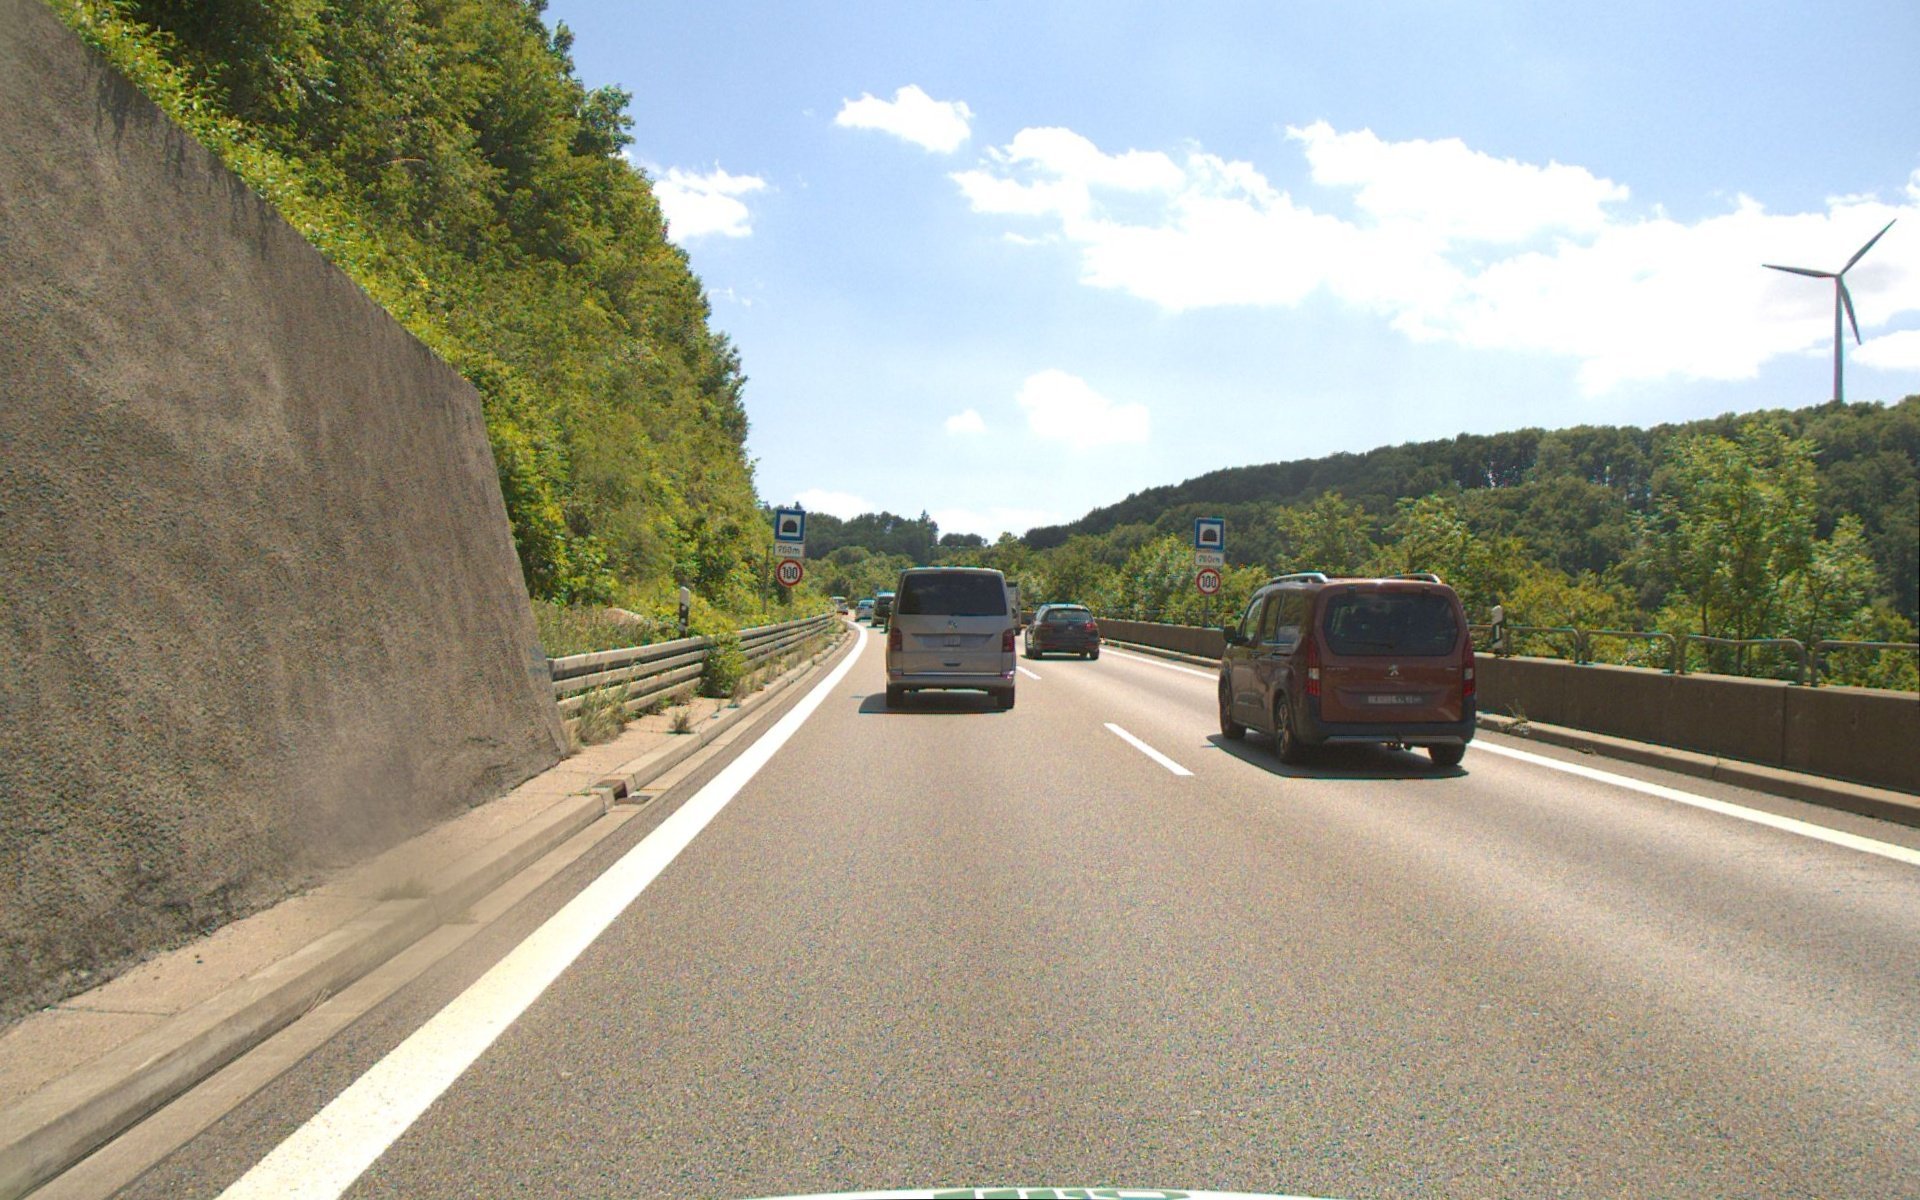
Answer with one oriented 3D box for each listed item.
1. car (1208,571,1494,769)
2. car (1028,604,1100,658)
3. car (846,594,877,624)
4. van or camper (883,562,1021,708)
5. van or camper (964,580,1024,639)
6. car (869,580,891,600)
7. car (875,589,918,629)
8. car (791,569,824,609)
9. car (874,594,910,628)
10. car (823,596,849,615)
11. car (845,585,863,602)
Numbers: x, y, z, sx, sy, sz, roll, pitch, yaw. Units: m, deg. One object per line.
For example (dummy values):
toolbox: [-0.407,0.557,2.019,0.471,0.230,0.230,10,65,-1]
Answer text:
car: [3.962,0.668,17.601,1.796,1.815,4.673,0,-1,-2]
car: [2.815,0.818,45.272,1.732,1.400,3.592,1,0,0]
car: [-6.778,0.602,113.390,1.955,1.948,3.994,1,0,-6]
van or camper: [-0.208,0.487,24.728,1.838,1.983,4.290,0,0,-3]
van or camper: [1.499,0.419,75.551,2.220,2.596,4.731,-1,0,-5]
car: [-8.720,-1.088,179.655,1.956,2.049,3.993,1,0,-8]
car: [-3.041,0.416,78.143,1.954,1.849,3.997,1,0,-3]
car: [-19.425,-1.404,210.604,3.965,4.957,10.096,1,0,-6]
car: [-3.837,0.589,93.309,1.954,1.849,3.997,1,0,-3]
car: [-11.141,0.528,148.287,2.101,1.635,5.071,-1,-1,-6]
car: [-12.512,-0.762,194.528,1.955,2.049,3.995,1,0,-5]
